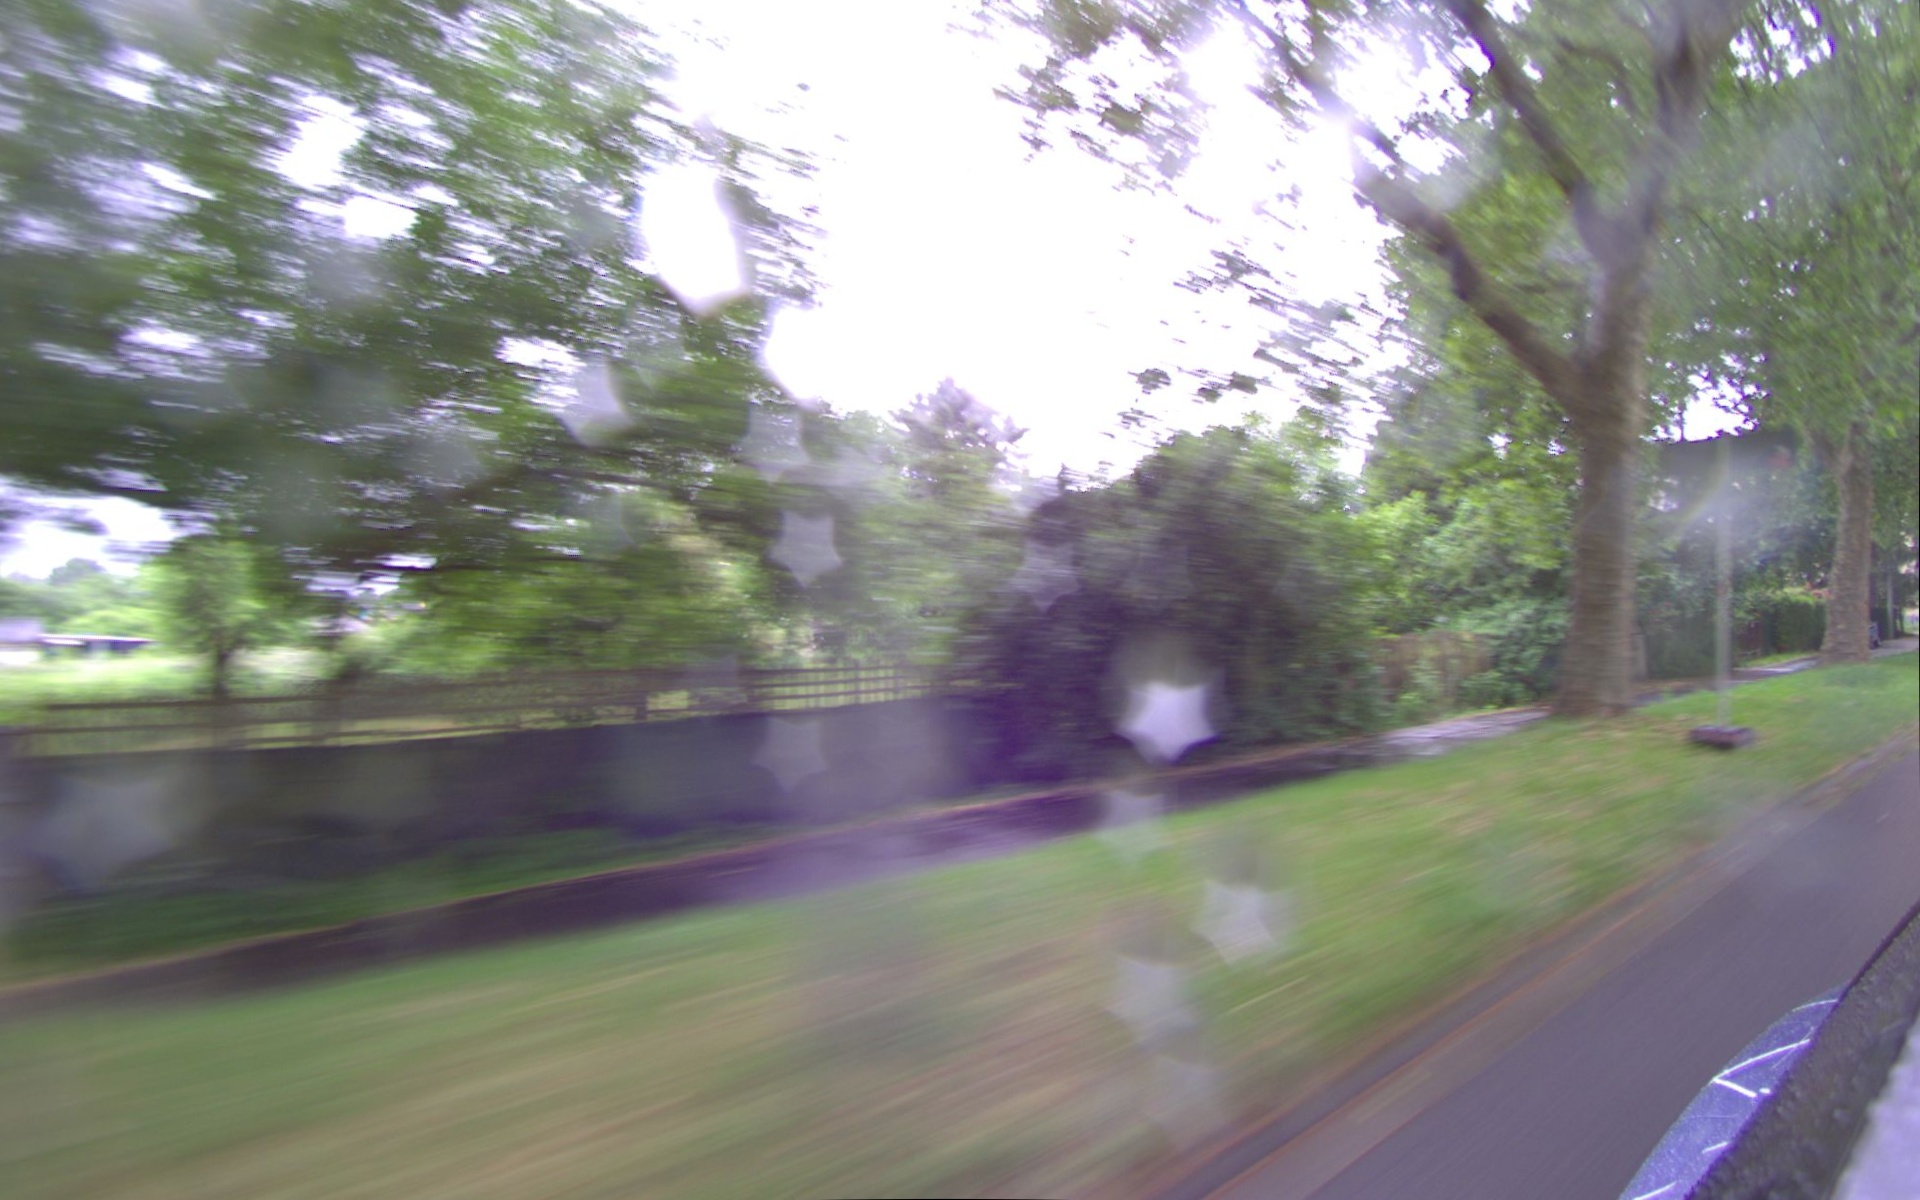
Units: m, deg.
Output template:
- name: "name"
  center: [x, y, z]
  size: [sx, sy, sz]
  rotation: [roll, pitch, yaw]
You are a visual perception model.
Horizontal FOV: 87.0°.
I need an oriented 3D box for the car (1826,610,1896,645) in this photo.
- name: "car"
  center: [40.696, 1.225, 45.671]
  size: [3.931, 1.343, 1.798]
  rotation: [-1, -4, -41]
